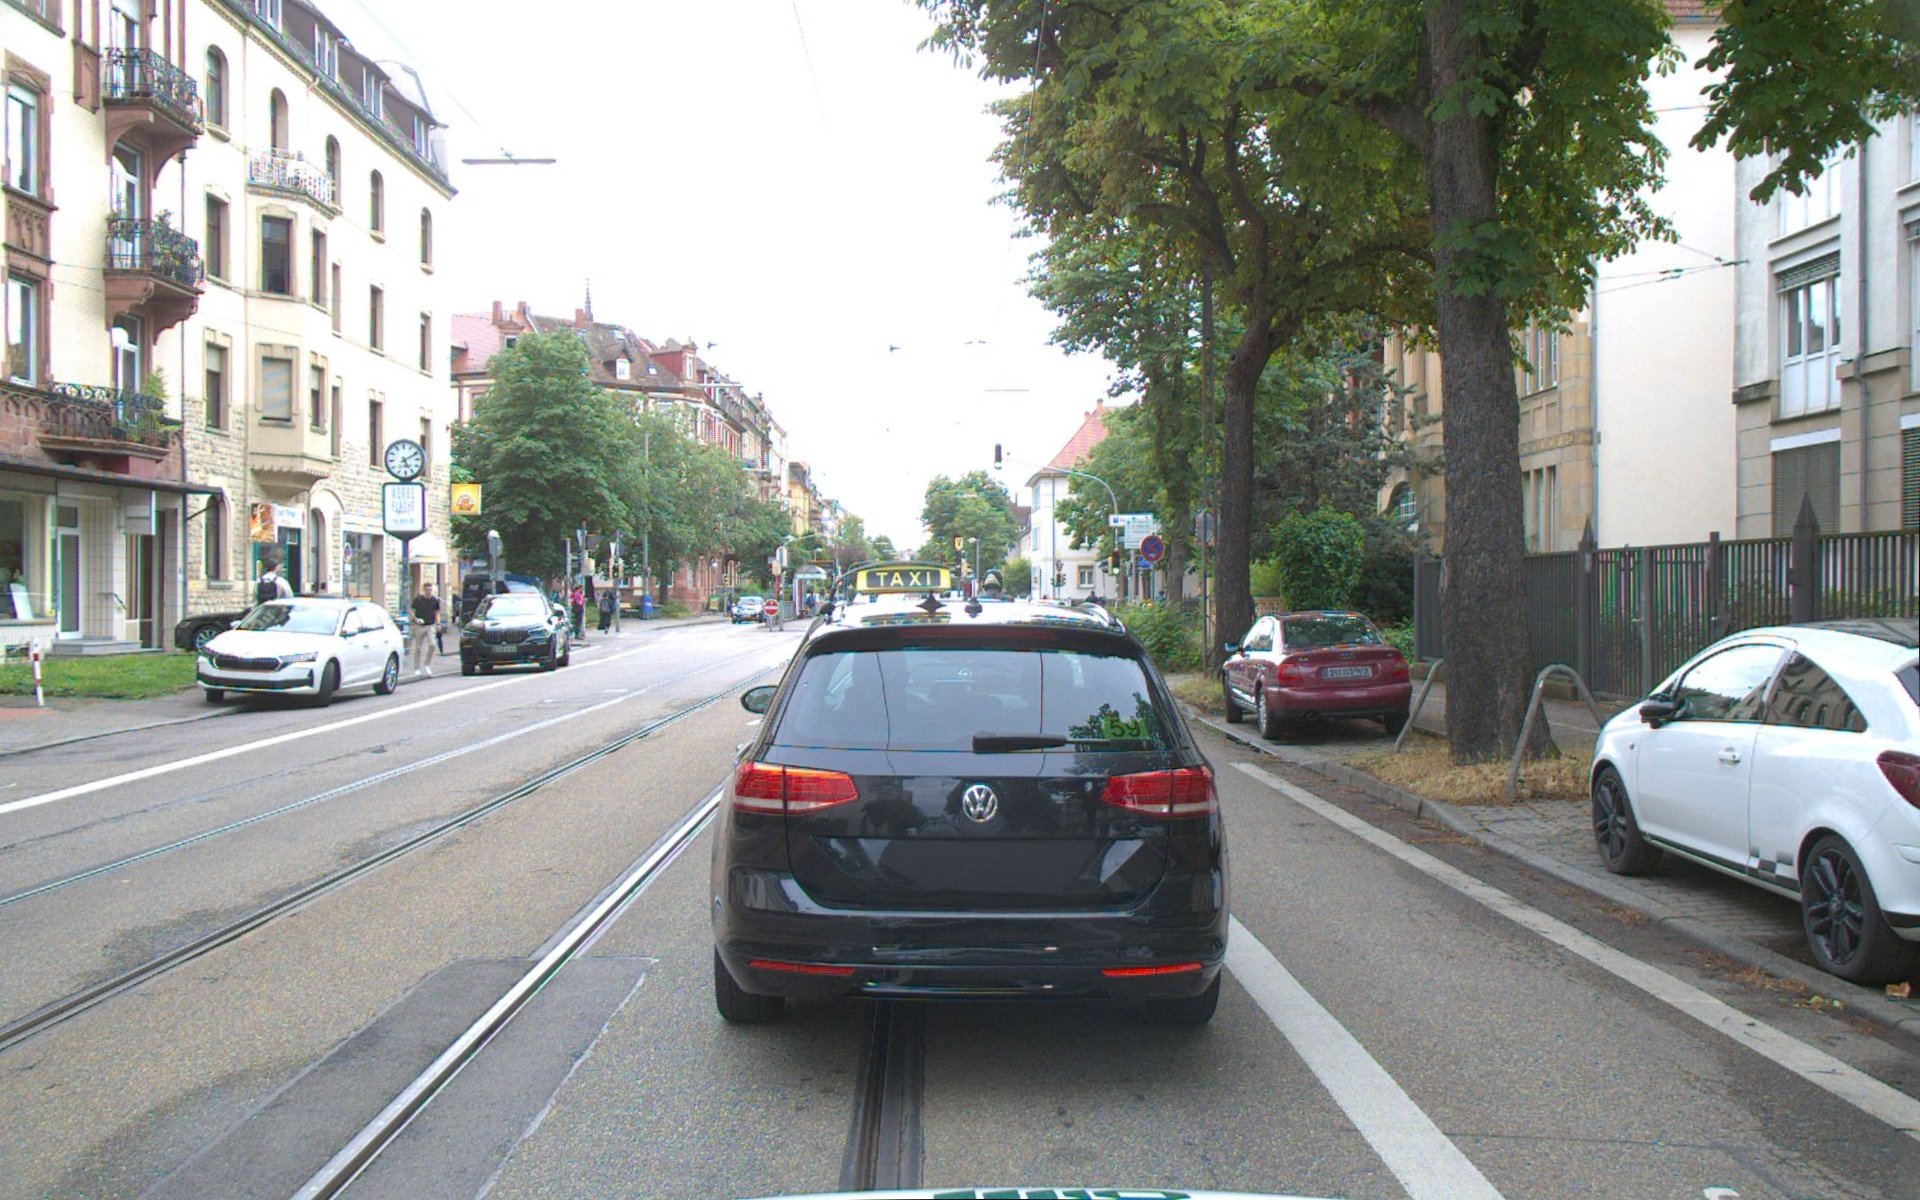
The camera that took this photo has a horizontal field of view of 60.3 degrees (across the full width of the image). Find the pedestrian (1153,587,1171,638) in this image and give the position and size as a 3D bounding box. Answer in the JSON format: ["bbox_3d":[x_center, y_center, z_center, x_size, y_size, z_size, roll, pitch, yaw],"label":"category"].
[{"bbox_3d":[7.487,0.467,61.360,0.503,1.863,0.418,-3,0,15],"label":"pedestrian"}]

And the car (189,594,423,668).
[{"bbox_3d":[-14.237,0.664,36.207,4.340,1.394,1.878,2,0,-6],"label":"car"}]

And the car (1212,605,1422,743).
[{"bbox_3d":[4.235,0.819,20.236,1.569,1.423,4.226,-2,0,-1],"label":"car"}]

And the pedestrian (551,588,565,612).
[{"bbox_3d":[-25.946,0.022,106.801,0.577,1.547,0.647,0,0,34],"label":"pedestrian"}]

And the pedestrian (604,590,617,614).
[{"bbox_3d":[-22.696,0.106,107.379,0.577,1.547,0.647,0,0,34],"label":"pedestrian"}]

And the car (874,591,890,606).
[{"bbox_3d":[-8.682,-0.137,183.602,1.686,1.651,3.862,0,0,-1],"label":"car"}]

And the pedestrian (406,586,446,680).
[{"bbox_3d":[-10.871,0.654,33.640,0.659,1.876,0.875,-1,0,-25],"label":"pedestrian"}]

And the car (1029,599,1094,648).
[{"bbox_3d":[3.543,0.814,58.209,1.953,1.605,3.999,1,0,-1],"label":"car"}]

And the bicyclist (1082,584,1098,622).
[{"bbox_3d":[5.548,0.118,70.397,0.637,1.596,0.696,0,0,6],"label":"bicyclist"}]

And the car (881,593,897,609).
[{"bbox_3d":[-9.225,0.125,215.806,1.953,2.049,3.998,1,0,-2],"label":"car"}]

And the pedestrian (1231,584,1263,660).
[{"bbox_3d":[6.988,0.535,40.329,0.619,1.846,0.726,0,0,-3],"label":"pedestrian"}]

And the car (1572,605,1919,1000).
[{"bbox_3d":[4.524,0.800,8.157,1.569,1.460,3.776,-2,0,0],"label":"car"}]

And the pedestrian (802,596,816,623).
[{"bbox_3d":[-8.634,0.519,94.661,0.699,1.547,0.590,0,0,1],"label":"pedestrian"}]

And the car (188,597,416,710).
[{"bbox_3d":[-9.760,0.726,24.929,1.712,1.510,4.607,0,0,-2],"label":"car"}]

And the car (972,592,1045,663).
[{"bbox_3d":[1.126,0.645,39.568,1.574,1.583,3.577,1,0,-1],"label":"car"}]

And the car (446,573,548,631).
[{"bbox_3d":[-20.415,0.065,72.729,2.168,2.460,5.295,0,0,-43],"label":"car"}]

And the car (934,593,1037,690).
[{"bbox_3d":[0.400,0.677,29.294,1.688,1.573,3.999,0,0,-1],"label":"car"}]

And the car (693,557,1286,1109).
[{"bbox_3d":[0.060,0.660,6.732,1.688,1.573,3.999,0,0,-1],"label":"car"}]

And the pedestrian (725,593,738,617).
[{"bbox_3d":[-15.030,0.319,108.897,0.577,1.547,0.647,0,0,34],"label":"pedestrian"}]

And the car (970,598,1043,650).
[{"bbox_3d":[1.393,0.668,48.295,1.852,1.432,4.003,-1,0,5],"label":"car"}]

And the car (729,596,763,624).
[{"bbox_3d":[-11.516,0.538,89.251,1.576,1.447,3.484,-1,0,-4],"label":"car"}]

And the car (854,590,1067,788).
[{"bbox_3d":[-0.021,0.701,15.163,1.688,1.573,3.999,0,0,-1],"label":"car"}]

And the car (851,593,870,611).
[{"bbox_3d":[-9.361,0.201,155.880,1.686,1.651,3.862,0,0,-1],"label":"car"}]

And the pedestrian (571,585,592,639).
[{"bbox_3d":[-13.209,0.412,57.654,0.610,1.875,0.609,0,0,-3],"label":"pedestrian"}]

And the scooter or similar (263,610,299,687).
[{"bbox_3d":[-11.377,0.800,27.719,0.226,1.256,0.953,0,0,-1],"label":"scooter or similar"}]

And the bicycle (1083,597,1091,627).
[{"bbox_3d":[5.391,0.507,70.294,0.291,1.244,1.431,0,0,6],"label":"bicycle"}]

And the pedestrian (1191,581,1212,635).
[{"bbox_3d":[8.567,0.273,58.733,0.573,1.863,0.604,-3,0,2],"label":"pedestrian"}]

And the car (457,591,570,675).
[{"bbox_3d":[-9.748,0.674,36.470,1.849,1.640,4.876,-3,0,-9],"label":"car"}]

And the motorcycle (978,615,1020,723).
[{"bbox_3d":[0.474,0.829,20.625,0.437,1.257,1.906,0,0,-1],"label":"motorcycle"}]

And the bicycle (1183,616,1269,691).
[{"bbox_3d":[4.464,0.883,27.654,0.426,1.219,1.891,0,-1,44],"label":"bicycle"}]

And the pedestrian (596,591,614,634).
[{"bbox_3d":[-14.076,0.487,65.652,0.577,1.692,0.838,0,0,-5],"label":"pedestrian"}]

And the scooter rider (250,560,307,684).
[{"bbox_3d":[-11.423,0.366,27.741,0.629,2.049,0.757,0,0,-1],"label":"scooter rider"}]

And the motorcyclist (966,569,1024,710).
[{"bbox_3d":[0.433,0.483,20.711,0.688,1.722,0.804,0,0,-1],"label":"motorcyclist"}]
